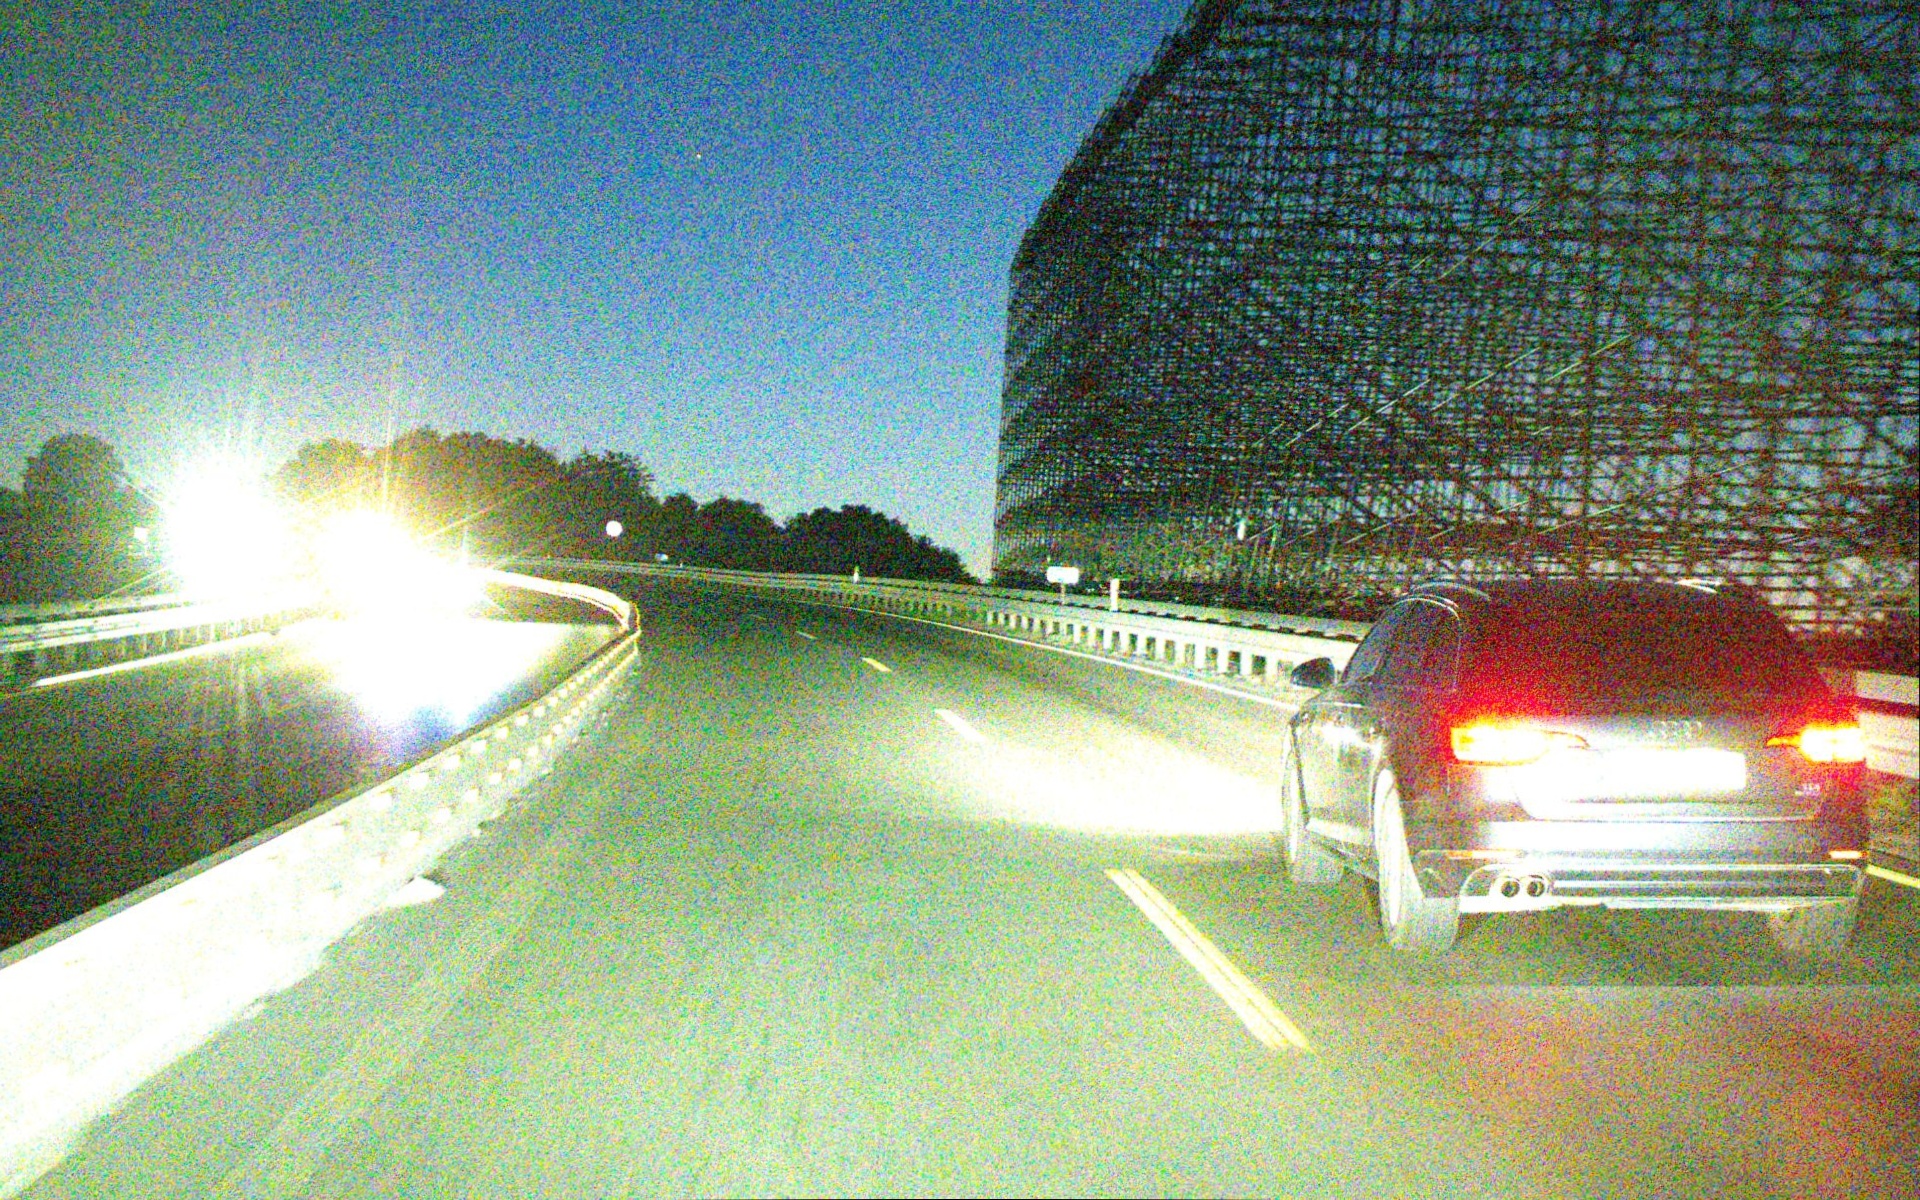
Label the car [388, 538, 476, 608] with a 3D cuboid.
[{"bbox_3d":[-12.571,-0.631,82.042,2.012,1.634,4.864,0,0,-8],"label":"car"}]

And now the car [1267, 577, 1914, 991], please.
[{"bbox_3d":[2.442,0.633,14.567,1.808,1.422,4.875,0,1,0],"label":"car"}]

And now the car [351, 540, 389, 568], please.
[{"bbox_3d":[-30.742,-2.403,179.137,1.684,1.454,4.201,0,1,-13],"label":"car"}]

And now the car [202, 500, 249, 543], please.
[{"bbox_3d":[-54.837,-5.844,256.676,2.485,3.095,7.387,0,0,-20],"label":"car"}]
